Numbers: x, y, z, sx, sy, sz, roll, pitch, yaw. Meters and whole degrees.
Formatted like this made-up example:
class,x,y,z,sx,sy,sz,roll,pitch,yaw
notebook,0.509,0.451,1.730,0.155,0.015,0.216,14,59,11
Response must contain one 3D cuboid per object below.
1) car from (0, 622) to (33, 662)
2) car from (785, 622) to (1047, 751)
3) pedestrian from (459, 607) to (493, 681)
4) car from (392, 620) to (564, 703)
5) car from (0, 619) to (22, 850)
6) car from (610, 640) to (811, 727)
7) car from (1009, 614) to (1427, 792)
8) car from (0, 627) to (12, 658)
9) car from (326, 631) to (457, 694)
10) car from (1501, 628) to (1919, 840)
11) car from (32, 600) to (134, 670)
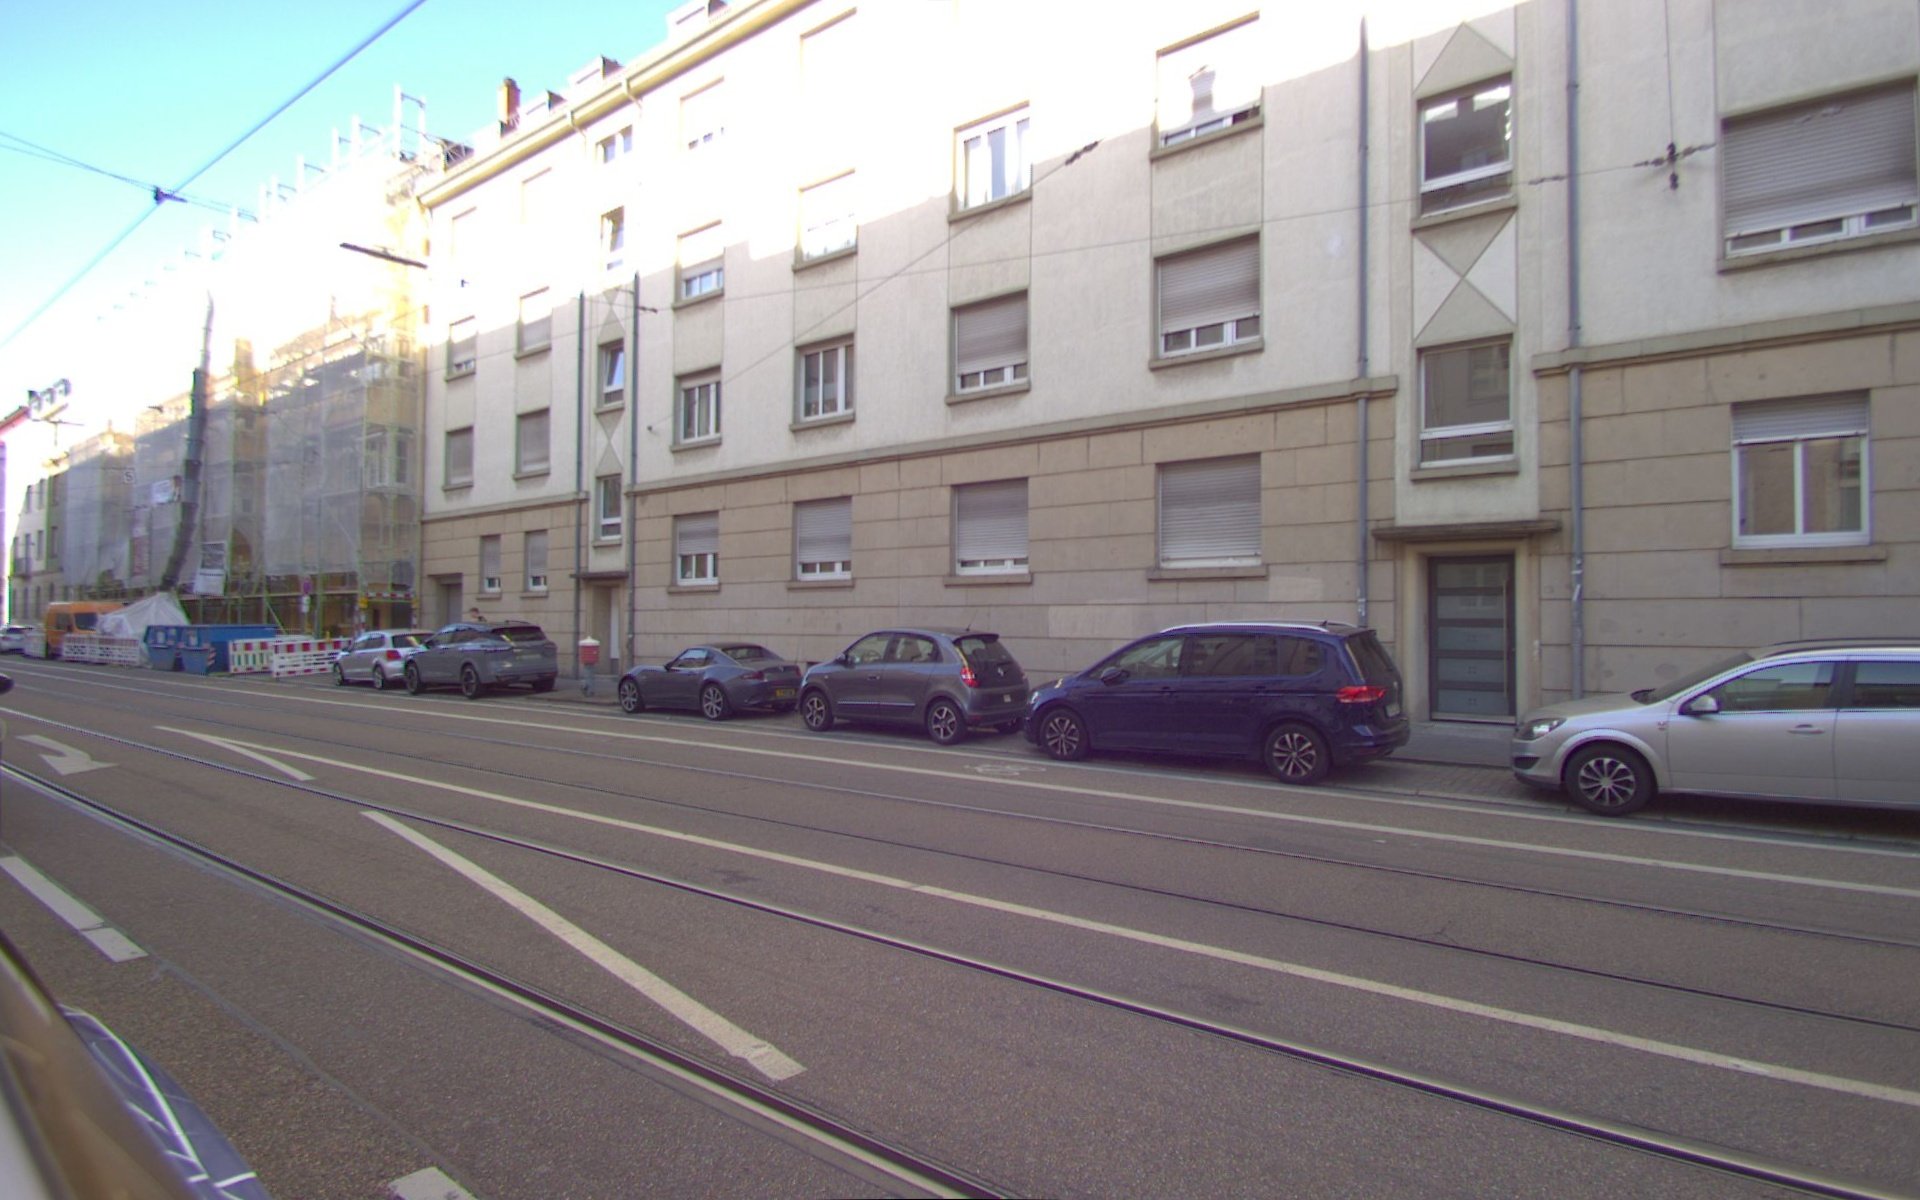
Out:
class,x,y,z,sx,sy,sz,roll,pitch,yaw
car,-50.041,2.187,53.298,1.635,1.937,3.767,-1,0,-44
car,-0.699,1.139,14.643,3.591,1.570,1.624,-1,1,38
pedestrian,-12.523,1.120,26.179,0.762,1.886,0.513,-1,0,38
car,-10.840,1.298,22.645,4.152,1.621,1.731,-1,1,37
car,-7.924,0.879,6.951,3.814,1.436,1.706,-2,-3,40
car,-4.350,1.372,17.459,3.518,1.229,1.458,-1,1,37
car,2.857,1.014,11.663,4.318,1.645,1.798,-1,1,37
car,-54.771,2.400,56.927,3.932,1.696,1.550,-1,0,39
car,-14.224,1.506,25.267,3.502,1.390,1.546,-1,1,37
car,7.100,1.013,8.434,4.363,1.465,1.709,-1,1,37
car,-36.465,1.392,42.008,5.866,2.717,2.188,-1,0,39
